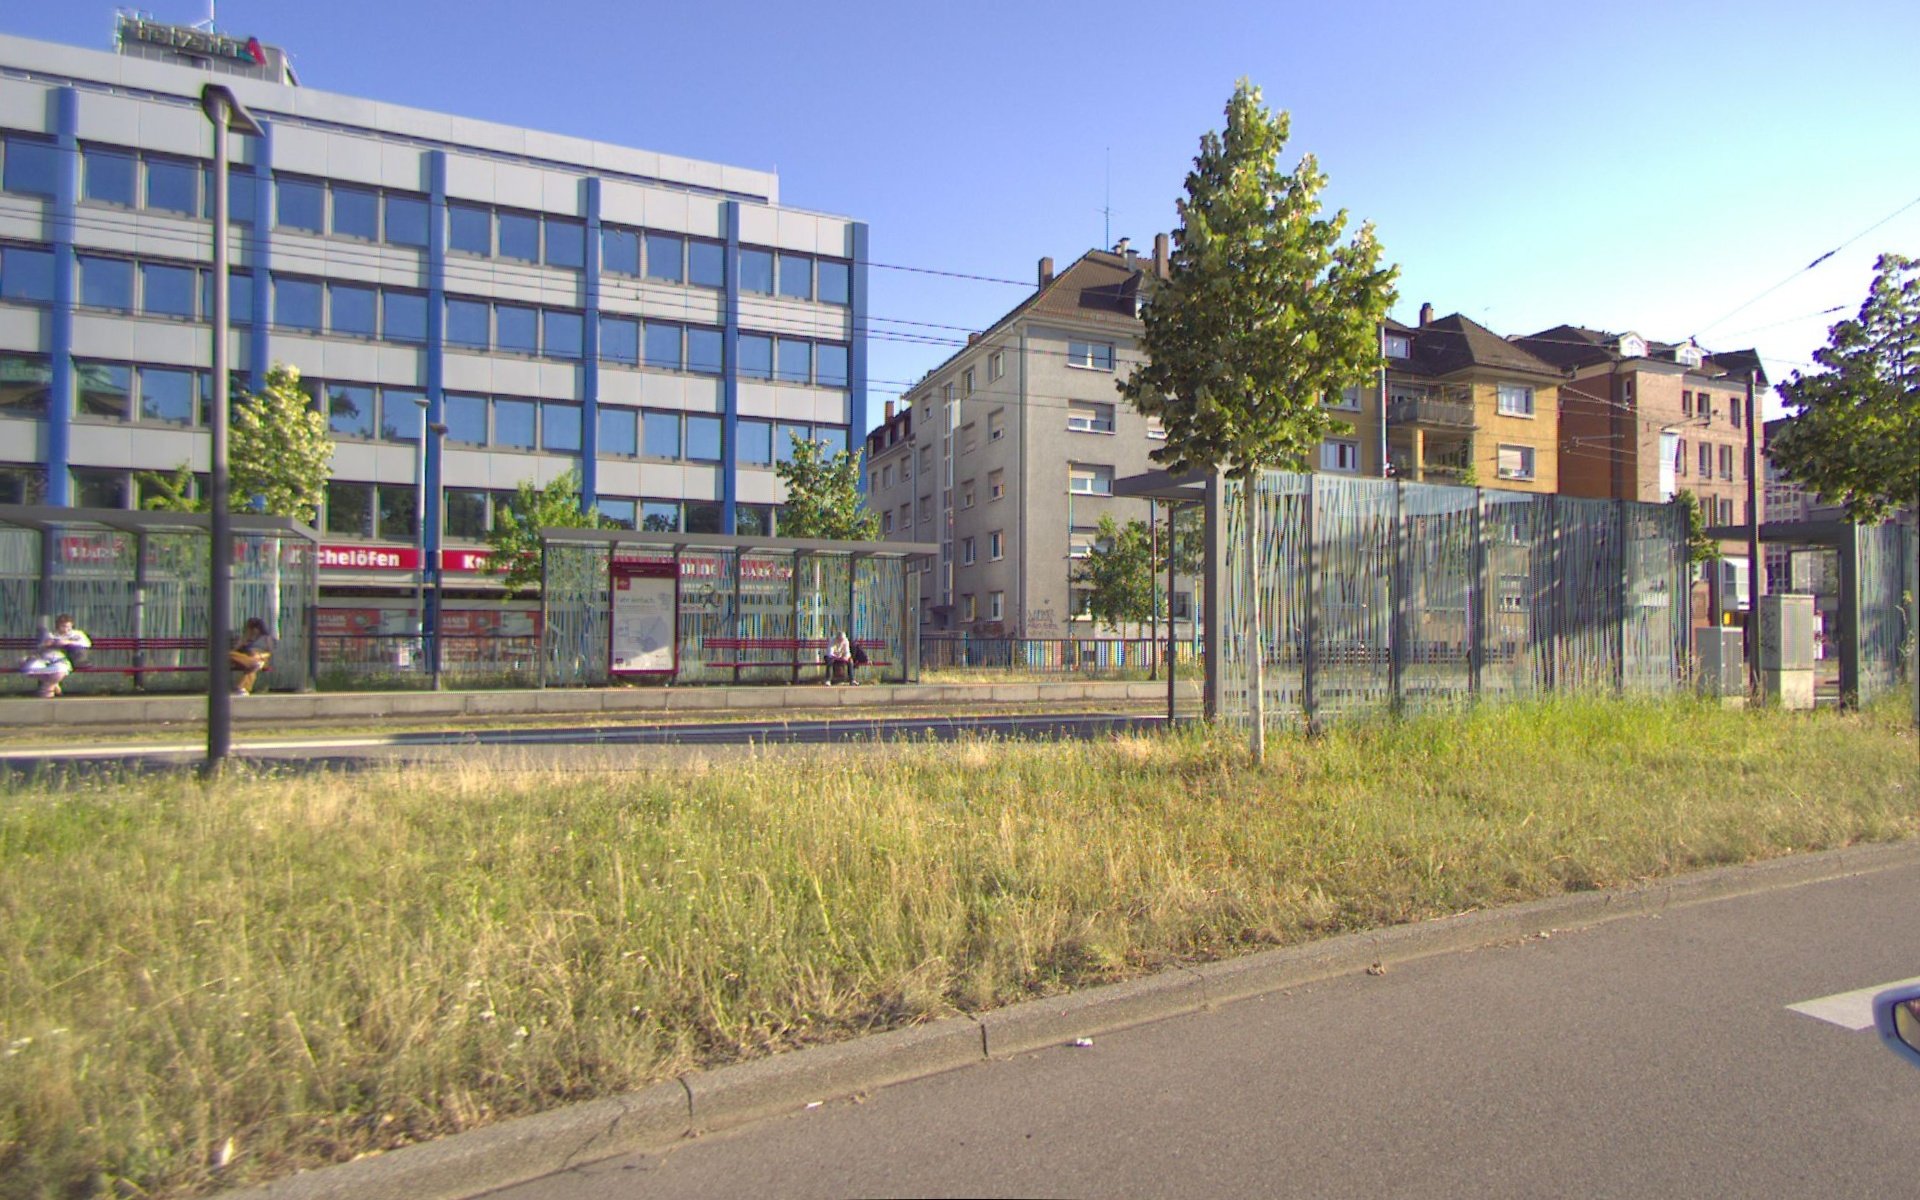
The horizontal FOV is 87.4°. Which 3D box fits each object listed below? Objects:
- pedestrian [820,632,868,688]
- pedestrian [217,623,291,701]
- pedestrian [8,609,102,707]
[{"bbox_3d":[-2.275,1.166,19.700,0.783,1.061,0.626,1,-2,-23],"label":"pedestrian"},{"bbox_3d":[-11.368,0.982,16.206,0.753,1.213,0.932,1,-2,-23],"label":"pedestrian"},{"bbox_3d":[-13.711,0.866,15.242,0.792,1.429,0.836,1,-2,-23],"label":"pedestrian"}]
